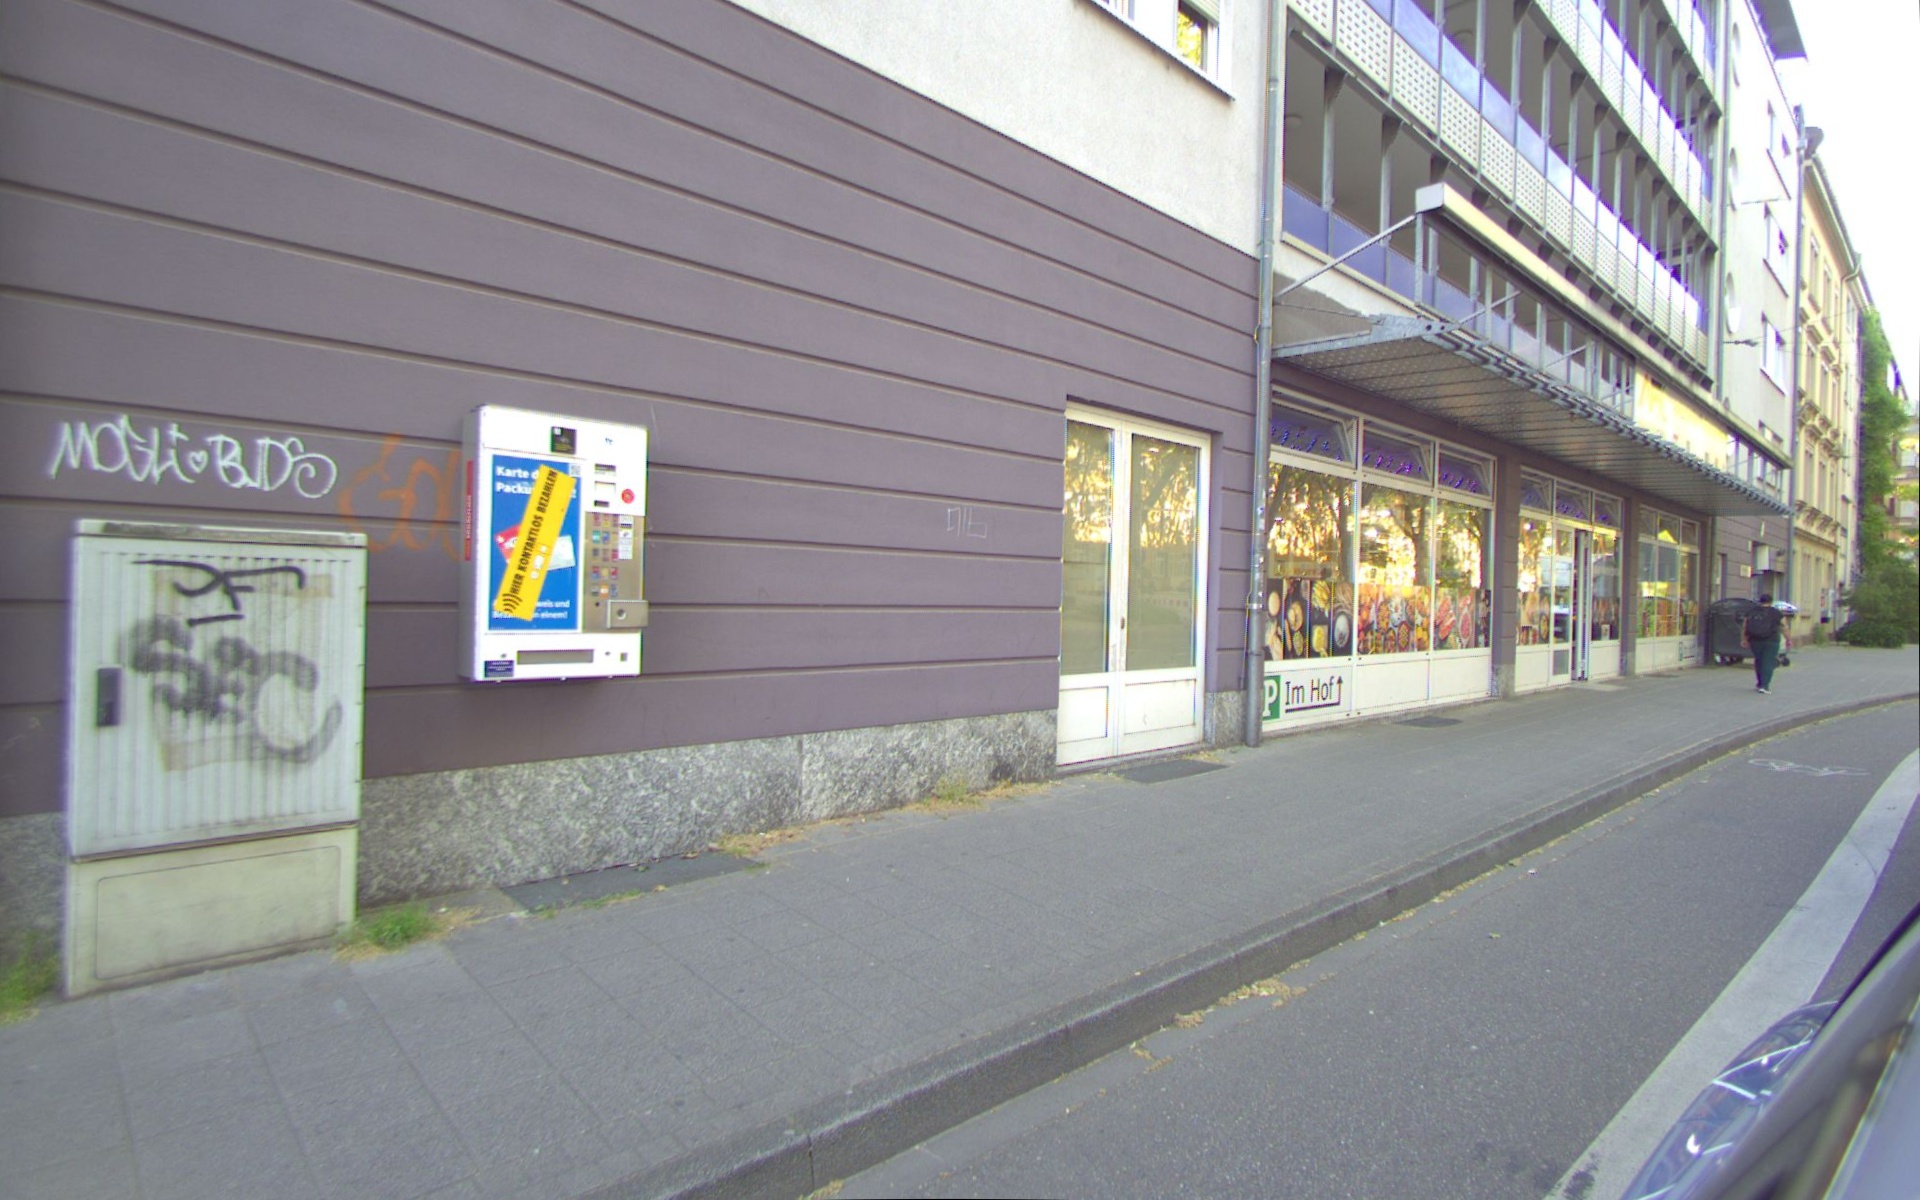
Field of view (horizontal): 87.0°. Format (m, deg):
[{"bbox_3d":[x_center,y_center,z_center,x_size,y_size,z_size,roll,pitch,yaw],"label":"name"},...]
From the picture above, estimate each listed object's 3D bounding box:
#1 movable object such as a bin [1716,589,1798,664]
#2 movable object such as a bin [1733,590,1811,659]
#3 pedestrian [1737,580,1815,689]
[{"bbox_3d":[16.330,0.522,20.745,0.923,1.444,1.158,1,1,-40],"label":"movable object such as a bin"},{"bbox_3d":[17.766,0.519,22.147,0.923,1.444,1.158,1,1,-40],"label":"movable object such as a bin"},{"bbox_3d":[12.555,0.502,15.569,0.862,1.612,0.613,2,1,44],"label":"pedestrian"}]
